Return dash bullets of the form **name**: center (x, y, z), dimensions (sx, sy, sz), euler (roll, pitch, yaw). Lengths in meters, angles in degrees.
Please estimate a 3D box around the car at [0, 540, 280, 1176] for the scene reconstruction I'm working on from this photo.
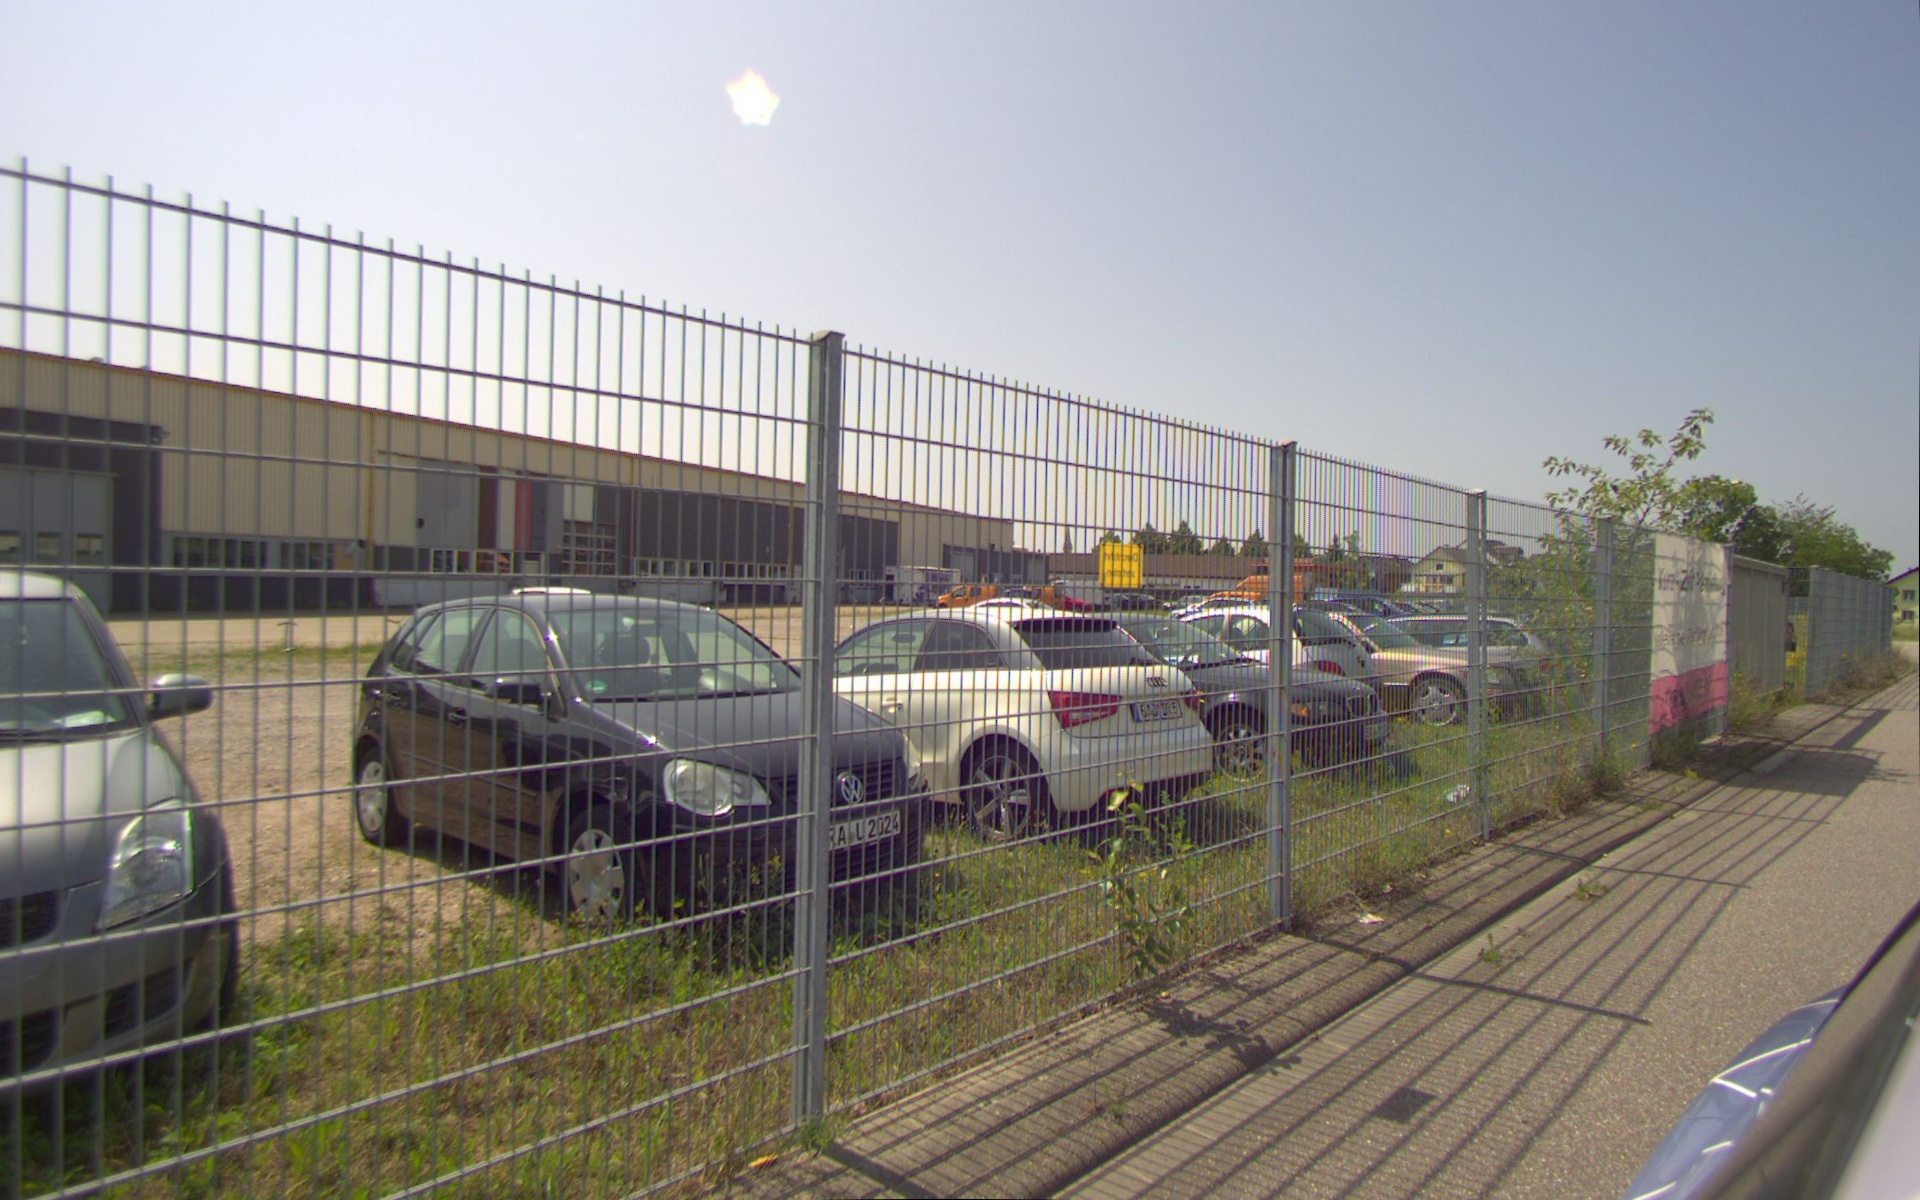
- **car**: center (-3.736, 0.574, 3.463), dimensions (3.540, 1.521, 1.684), euler (2, 1, 45)

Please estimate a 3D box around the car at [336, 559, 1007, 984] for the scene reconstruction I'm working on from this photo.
- **car**: center (-1.710, 0.550, 5.409), dimensions (3.644, 1.496, 1.727), euler (1, 2, 40)

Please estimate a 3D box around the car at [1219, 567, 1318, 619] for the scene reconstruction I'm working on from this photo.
- **car**: center (16.634, -0.382, 54.601), dimensions (4.710, 2.617, 1.958), euler (3, 0, 32)

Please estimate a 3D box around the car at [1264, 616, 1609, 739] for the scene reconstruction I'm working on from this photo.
- **car**: center (6.674, 1.007, 14.478), dimensions (4.162, 1.493, 1.612), euler (-2, -1, 44)

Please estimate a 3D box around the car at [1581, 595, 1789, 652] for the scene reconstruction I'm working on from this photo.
- **car**: center (19.416, 0.626, 27.274), dimensions (1.805, 1.424, 4.218), euler (0, -1, -39)

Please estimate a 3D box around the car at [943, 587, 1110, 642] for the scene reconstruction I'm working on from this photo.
- **car**: center (1.819, 0.370, 28.494), dimensions (4.491, 1.368, 1.607), euler (2, 1, 33)

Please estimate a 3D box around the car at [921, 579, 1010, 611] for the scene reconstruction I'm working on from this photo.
- **car**: center (0.283, -0.253, 52.941), dimensions (4.352, 1.504, 1.735), euler (3, 1, 29)

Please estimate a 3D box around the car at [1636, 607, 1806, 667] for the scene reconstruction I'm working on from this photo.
- **car**: center (24.959, 1.166, 33.293), dimensions (4.282, 1.658, 1.736), euler (3, 1, 44)

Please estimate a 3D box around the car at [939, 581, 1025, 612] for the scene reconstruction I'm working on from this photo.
- **car**: center (1.181, -0.211, 54.916), dimensions (4.352, 1.504, 1.735), euler (3, 1, 29)

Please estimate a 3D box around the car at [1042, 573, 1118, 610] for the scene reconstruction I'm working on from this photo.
- **car**: center (7.625, -0.543, 64.496), dimensions (4.352, 2.199, 1.953), euler (3, 0, 29)

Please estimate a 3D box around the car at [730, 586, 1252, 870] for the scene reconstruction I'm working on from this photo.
- **car**: center (0.040, 0.649, 7.103), dimensions (1.610, 1.406, 3.526), euler (0, 1, -45)

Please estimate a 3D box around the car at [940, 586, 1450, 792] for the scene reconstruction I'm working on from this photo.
- **car**: center (1.875, 0.593, 9.032), dimensions (4.185, 1.371, 1.695), euler (2, 1, 45)

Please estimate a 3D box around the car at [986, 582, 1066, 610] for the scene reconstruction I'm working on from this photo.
- **car**: center (3.924, -0.254, 60.163), dimensions (4.352, 1.504, 1.953), euler (3, 1, 29)

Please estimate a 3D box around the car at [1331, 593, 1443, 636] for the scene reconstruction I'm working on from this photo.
- **car**: center (16.461, 0.537, 39.041), dimensions (3.745, 1.455, 1.593), euler (3, 1, 32)

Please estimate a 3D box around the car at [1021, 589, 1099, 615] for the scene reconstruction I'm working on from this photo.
- **car**: center (6.125, 0.110, 62.061), dimensions (4.356, 1.395, 1.821), euler (3, 1, 32)

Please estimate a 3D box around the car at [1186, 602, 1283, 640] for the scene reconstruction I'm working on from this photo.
- **car**: center (12.029, 0.893, 44.390), dimensions (3.800, 1.480, 1.571), euler (3, 1, 32)

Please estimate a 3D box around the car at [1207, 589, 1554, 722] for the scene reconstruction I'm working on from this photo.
- **car**: center (5.166, 0.578, 12.736), dimensions (1.712, 1.371, 3.666), euler (0, 1, -44)

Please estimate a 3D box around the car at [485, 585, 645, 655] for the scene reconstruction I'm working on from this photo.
- **car**: center (-9.229, 0.425, 23.602), dimensions (3.635, 1.454, 1.520), euler (2, 1, 29)

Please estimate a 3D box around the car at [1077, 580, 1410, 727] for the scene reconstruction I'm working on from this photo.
- **car**: center (3.070, 0.488, 11.304), dimensions (3.267, 1.371, 1.504), euler (1, 1, 44)

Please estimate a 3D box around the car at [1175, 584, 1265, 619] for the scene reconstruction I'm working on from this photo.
- **car**: center (12.226, 0.062, 47.598), dimensions (3.800, 1.480, 1.571), euler (3, 1, 32)
